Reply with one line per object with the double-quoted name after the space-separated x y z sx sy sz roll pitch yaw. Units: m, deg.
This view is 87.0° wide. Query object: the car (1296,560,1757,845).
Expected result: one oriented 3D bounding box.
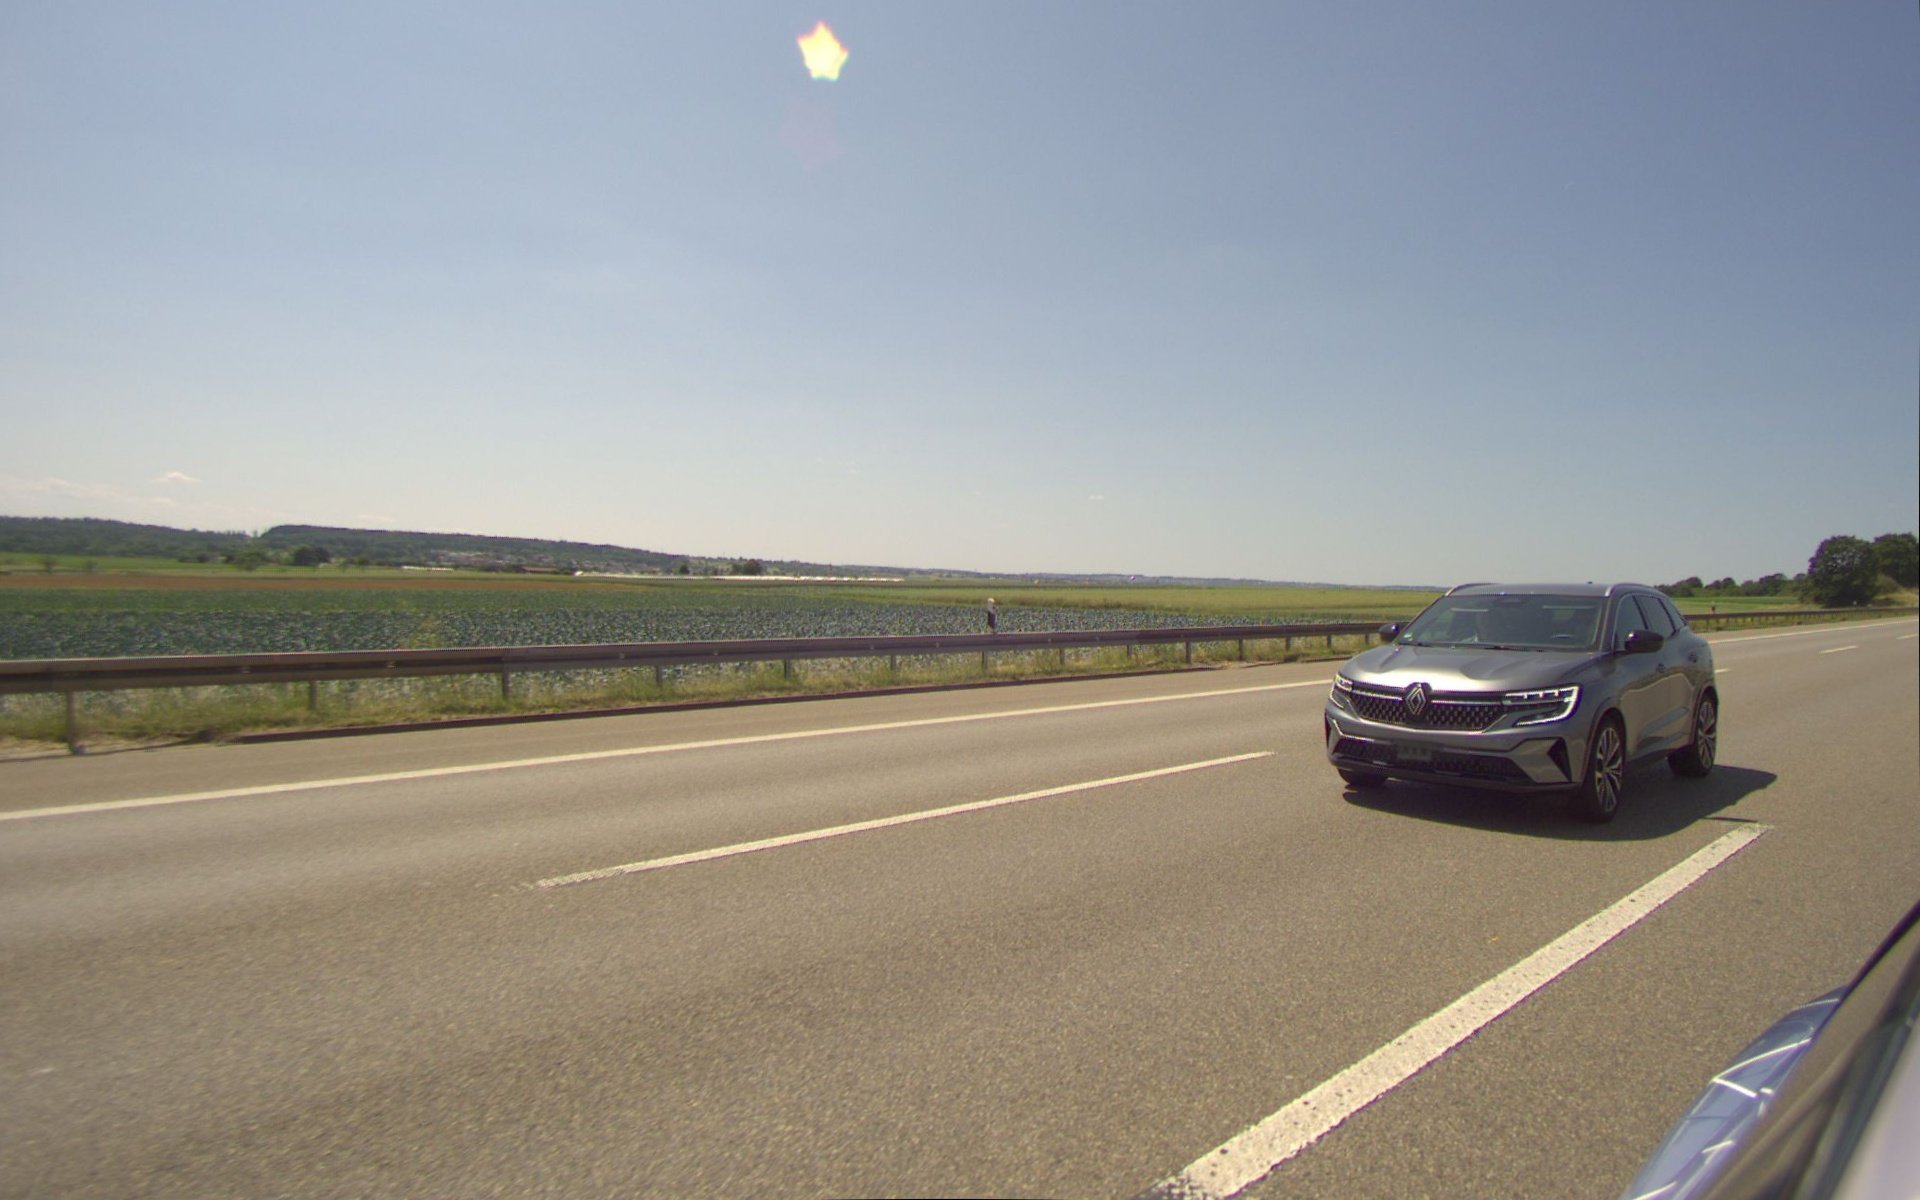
4.771 0.556 8.195 4.565 1.669 1.854 -1 2 -42 "car"
